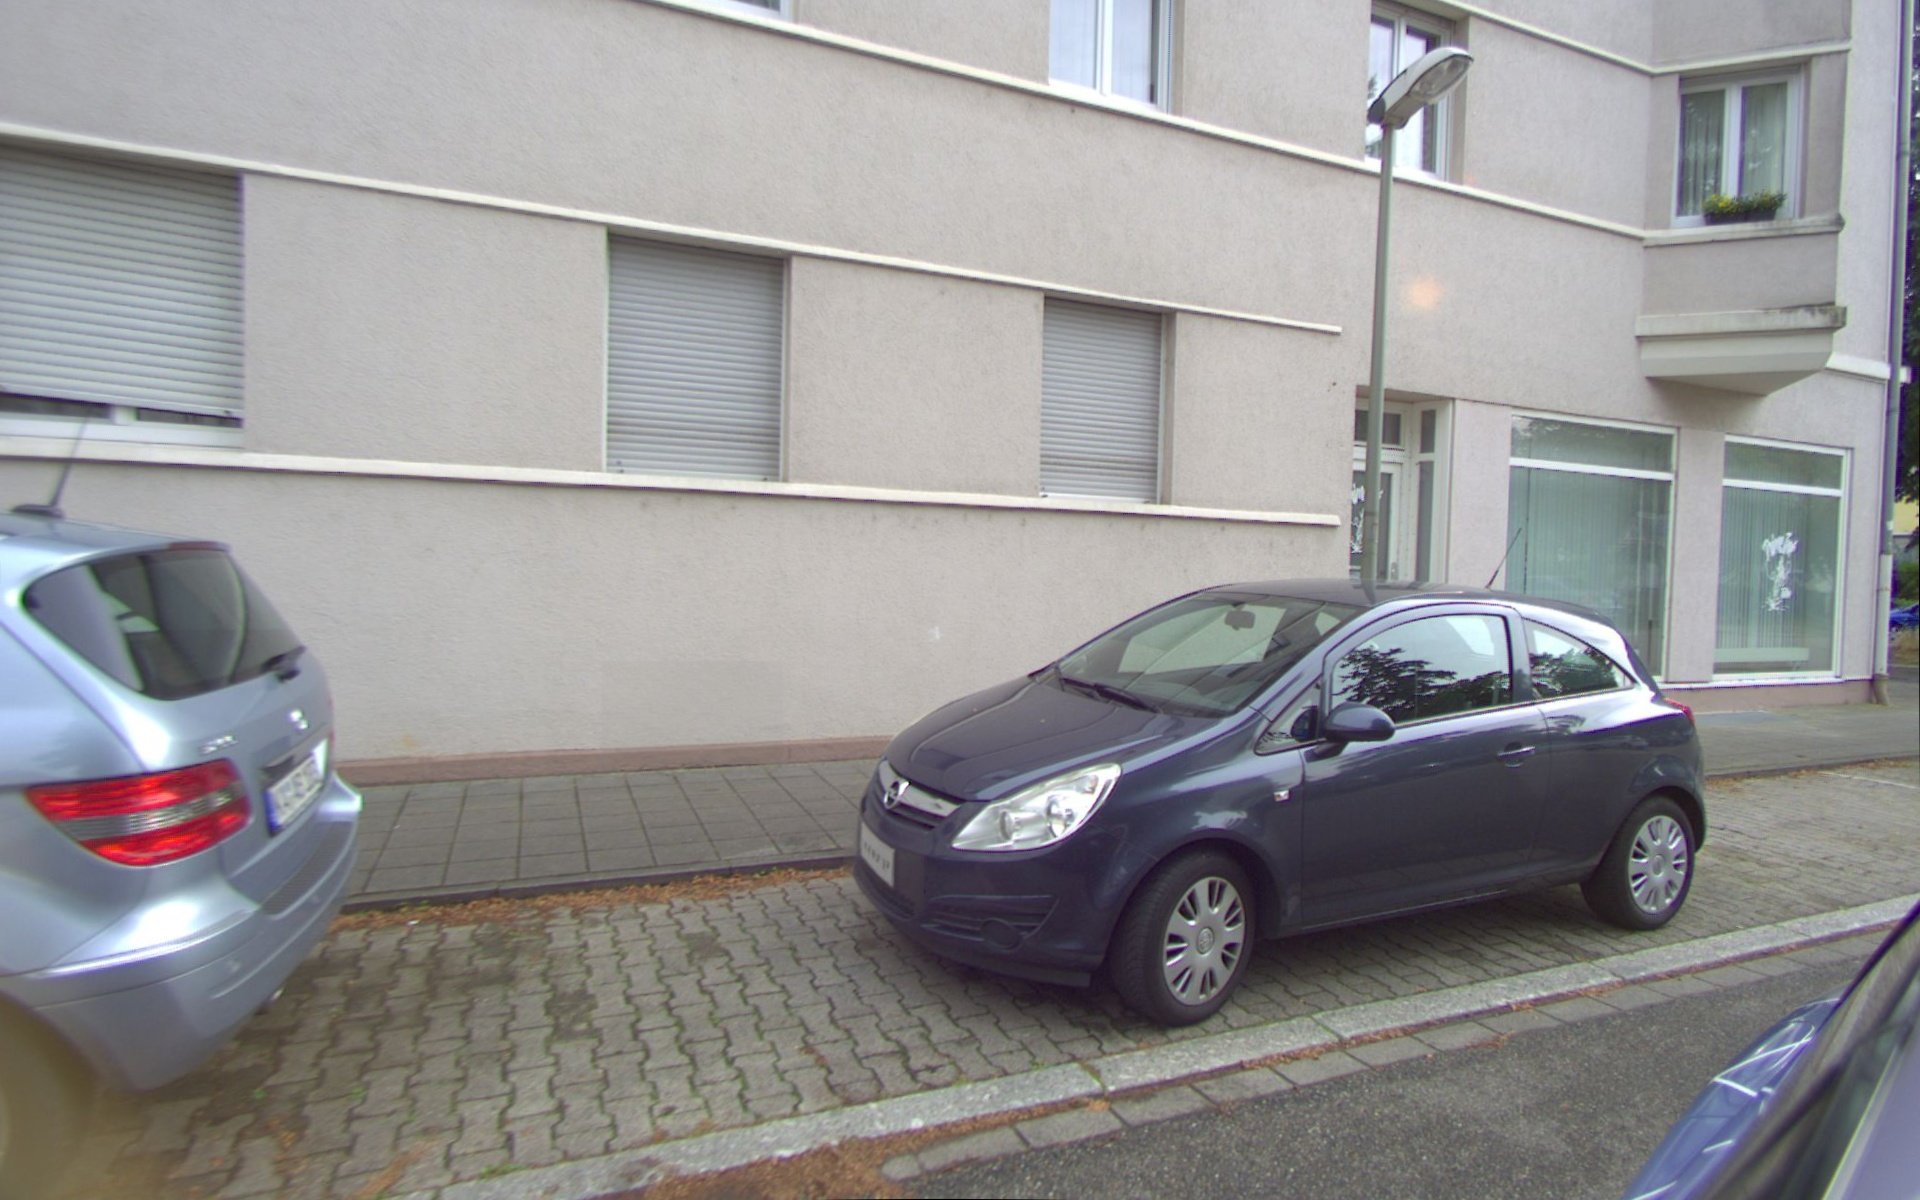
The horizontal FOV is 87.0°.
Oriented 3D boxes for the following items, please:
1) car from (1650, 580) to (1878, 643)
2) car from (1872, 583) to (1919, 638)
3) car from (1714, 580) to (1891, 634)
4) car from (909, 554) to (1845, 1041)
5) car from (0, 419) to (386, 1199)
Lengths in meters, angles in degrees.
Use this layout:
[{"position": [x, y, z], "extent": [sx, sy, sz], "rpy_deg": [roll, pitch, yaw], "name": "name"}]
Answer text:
[{"position": [23.516, 0.270, 29.853], "extent": [1.864, 1.585, 4.892], "rpy_deg": [0, 2, -28], "name": "car"}, {"position": [29.566, 0.346, 29.409], "extent": [1.670, 1.585, 4.219], "rpy_deg": [-1, 3, -24], "name": "car"}, {"position": [27.745, 0.173, 33.472], "extent": [1.685, 1.518, 4.173], "rpy_deg": [-2, 3, -28], "name": "car"}, {"position": [1.884, 0.576, 4.676], "extent": [3.854, 1.508, 1.766], "rpy_deg": [0, 2, -23], "name": "car"}, {"position": [-3.752, 0.440, 2.210], "extent": [4.111, 1.647, 1.767], "rpy_deg": [0, 2, -20], "name": "car"}]
